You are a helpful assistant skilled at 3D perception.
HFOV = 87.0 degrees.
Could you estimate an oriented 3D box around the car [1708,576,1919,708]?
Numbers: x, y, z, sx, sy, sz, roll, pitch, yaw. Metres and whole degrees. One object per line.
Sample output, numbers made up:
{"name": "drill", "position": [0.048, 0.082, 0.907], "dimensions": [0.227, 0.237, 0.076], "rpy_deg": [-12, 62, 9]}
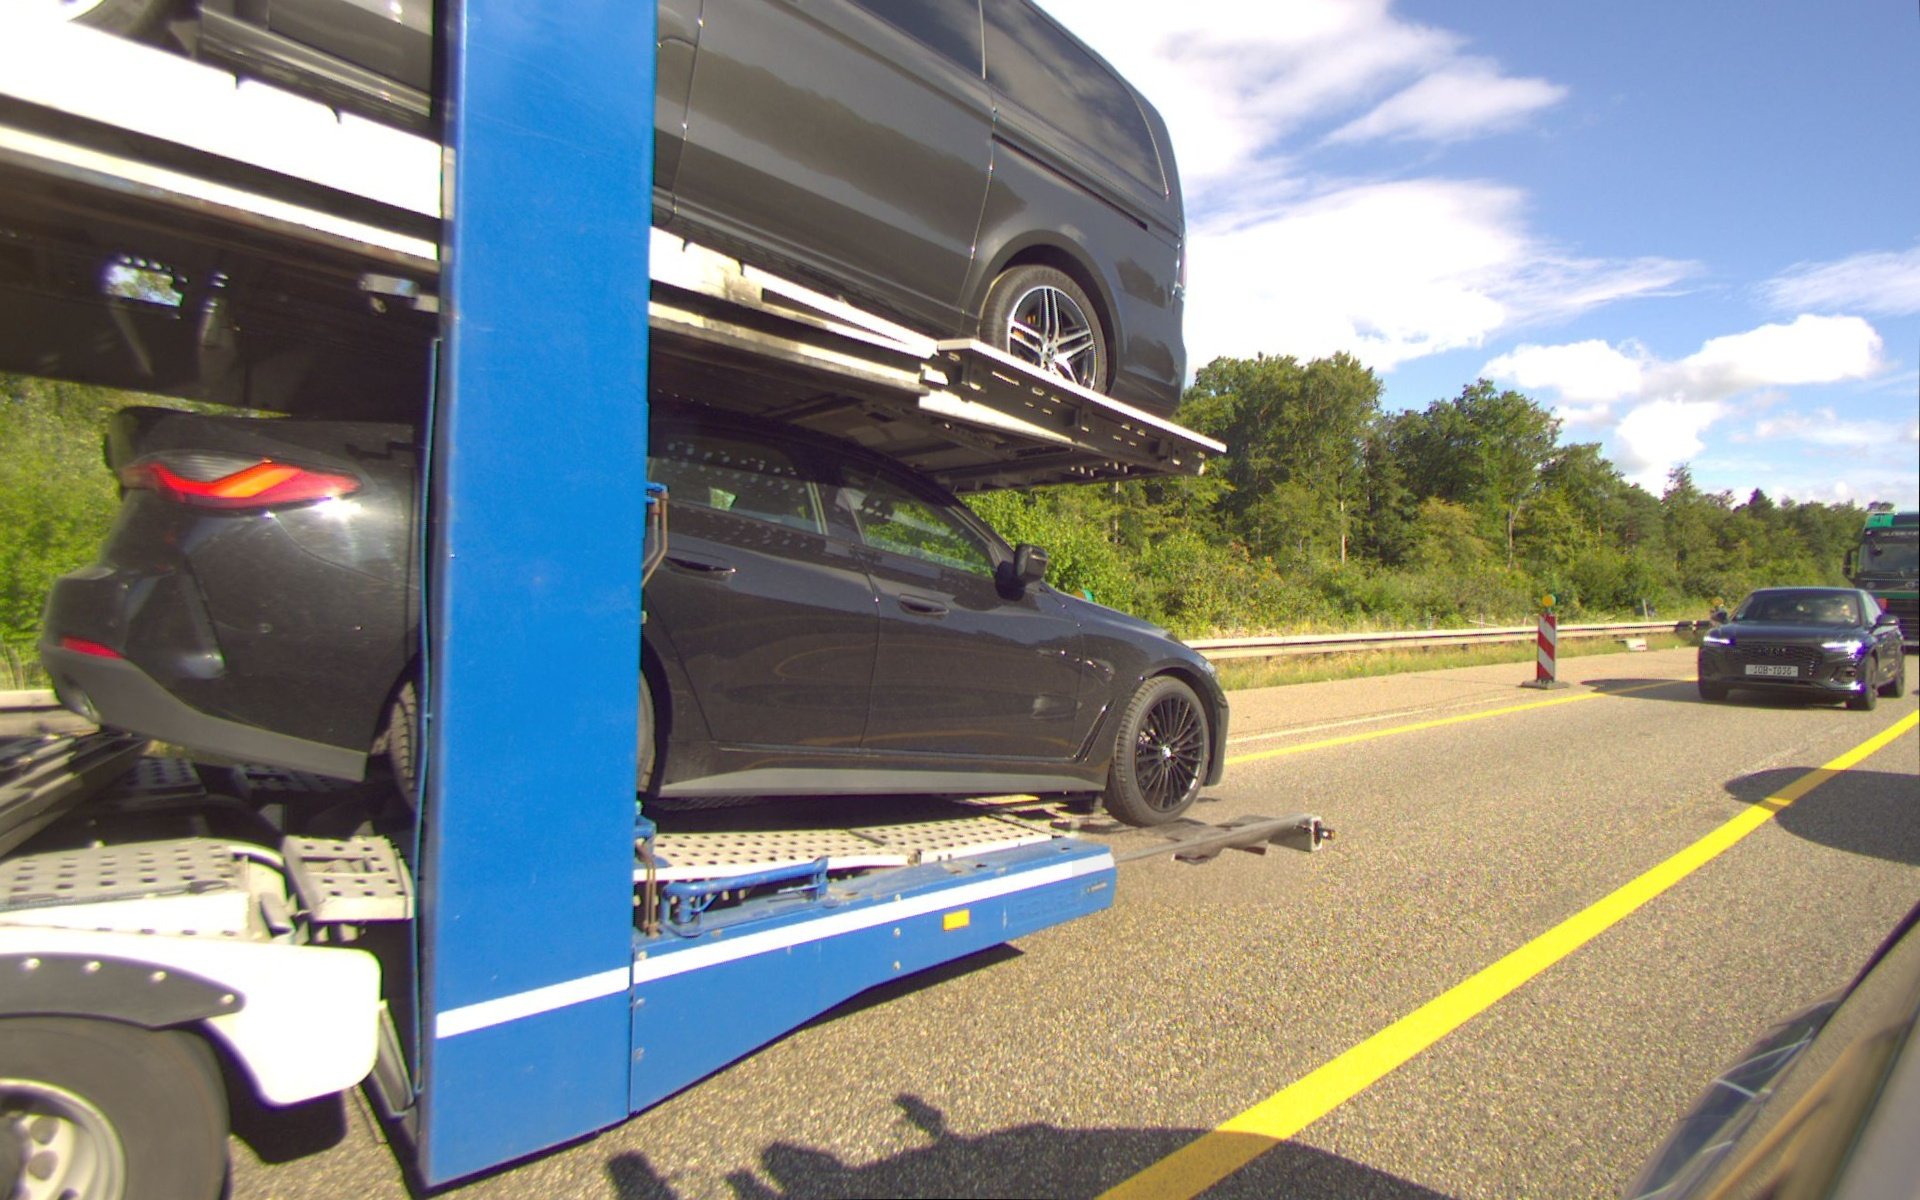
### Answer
{"name": "car", "position": [12.360, 0.485, 14.502], "dimensions": [4.219, 1.622, 1.781], "rpy_deg": [-1, 0, -41]}

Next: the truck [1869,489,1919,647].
{"name": "truck", "position": [27.837, -0.876, 28.399], "dimensions": [6.735, 4.151, 2.526], "rpy_deg": [-1, 0, -40]}

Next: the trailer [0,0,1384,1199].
{"name": "trailer", "position": [-5.146, -0.766, 0.995], "dimensions": [15.947, 4.249, 3.732], "rpy_deg": [-1, 0, -42]}

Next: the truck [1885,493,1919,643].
{"name": "truck", "position": [32.500, -0.882, 32.418], "dimensions": [13.958, 4.196, 2.469], "rpy_deg": [0, 0, -40]}
